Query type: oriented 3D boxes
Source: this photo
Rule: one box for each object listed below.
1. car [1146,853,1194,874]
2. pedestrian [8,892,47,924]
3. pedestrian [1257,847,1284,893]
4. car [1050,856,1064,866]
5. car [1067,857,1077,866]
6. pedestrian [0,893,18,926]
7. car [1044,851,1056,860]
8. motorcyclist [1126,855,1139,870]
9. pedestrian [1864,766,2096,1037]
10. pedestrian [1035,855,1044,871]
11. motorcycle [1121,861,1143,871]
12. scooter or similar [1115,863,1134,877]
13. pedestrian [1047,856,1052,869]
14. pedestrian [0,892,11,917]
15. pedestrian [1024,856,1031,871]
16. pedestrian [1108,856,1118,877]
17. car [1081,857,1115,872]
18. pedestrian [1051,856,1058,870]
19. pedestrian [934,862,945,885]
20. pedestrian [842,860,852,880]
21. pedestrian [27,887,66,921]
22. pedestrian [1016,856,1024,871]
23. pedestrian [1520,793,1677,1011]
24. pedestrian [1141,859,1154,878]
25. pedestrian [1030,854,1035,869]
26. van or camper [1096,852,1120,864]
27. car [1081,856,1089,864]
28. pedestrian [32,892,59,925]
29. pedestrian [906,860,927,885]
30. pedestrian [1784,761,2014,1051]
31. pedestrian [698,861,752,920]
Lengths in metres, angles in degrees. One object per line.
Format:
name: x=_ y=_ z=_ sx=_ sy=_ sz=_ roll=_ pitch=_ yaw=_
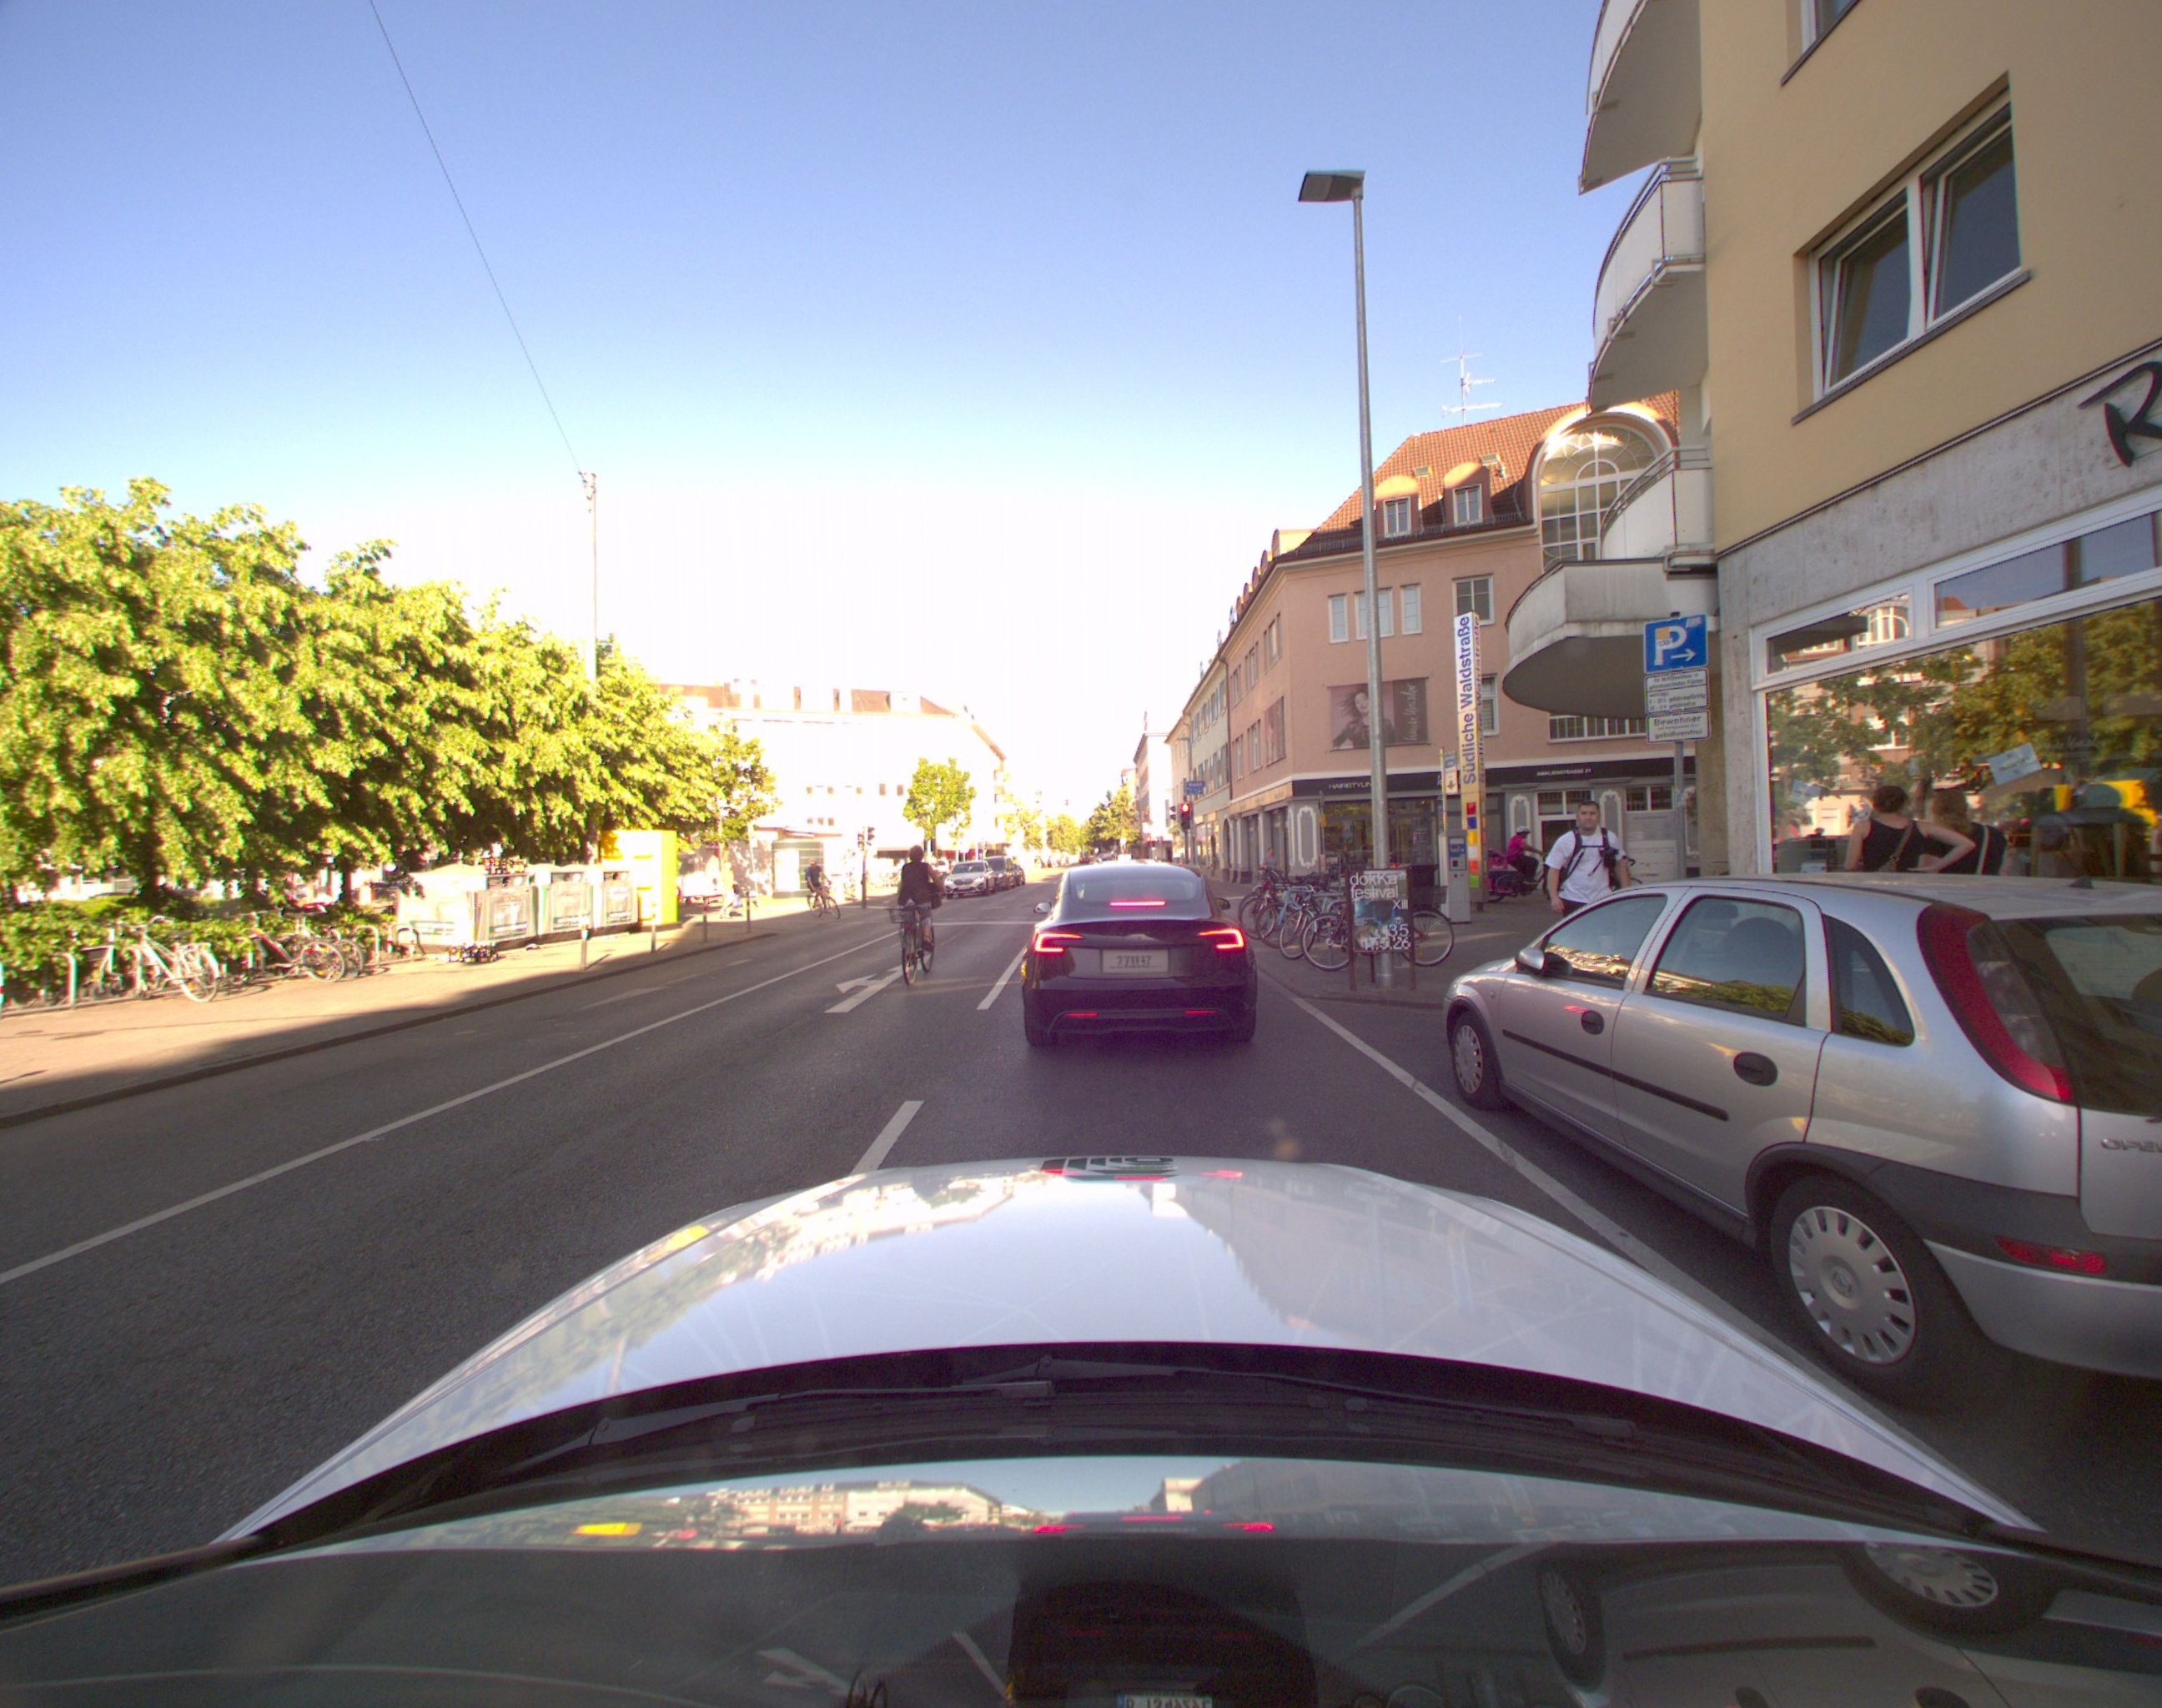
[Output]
car: x=8.143 y=0.875 z=74.644 sx=4.006 sy=1.867 sz=1.686 roll=-1 pitch=0 yaw=-20
pedestrian: x=-52.877 y=2.700 z=40.882 sx=1.029 sy=1.520 sz=1.023 roll=0 pitch=-1 yaw=-43
pedestrian: x=6.456 y=0.555 z=27.768 sx=0.786 sy=1.549 sz=0.724 roll=0 pitch=-1 yaw=2
car: x=-4.867 y=1.321 z=166.802 sx=2.405 sy=1.970 sz=4.679 roll=-1 pitch=0 yaw=2
car: x=-2.008 y=1.776 z=187.423 sx=2.124 sy=1.970 sz=4.135 roll=-1 pitch=0 yaw=2
pedestrian: x=-51.162 y=2.632 z=38.503 sx=0.928 sy=1.520 sz=0.924 roll=0 pitch=-1 yaw=-43
car: x=-7.174 y=0.288 z=188.727 sx=2.266 sy=2.014 sz=4.720 roll=0 pitch=-1 yaw=3
motorcyclist: x=5.505 y=0.903 z=86.735 sx=1.117 sy=1.633 sz=0.768 roll=0 pitch=-1 yaw=-32
pedestrian: x=6.291 y=0.326 z=5.762 sx=0.715 sy=1.754 sz=0.791 roll=-4 pitch=-1 yaw=19
pedestrian: x=-4.895 y=1.100 z=95.052 sx=0.726 sy=1.868 sz=0.796 roll=-1 pitch=-1 yaw=30
motorcycle: x=5.425 y=1.274 z=86.688 sx=2.394 sy=1.036 sz=0.775 roll=0 pitch=-1 yaw=-32
scooter or similar: x=3.576 y=1.329 z=67.287 sx=1.339 sy=1.134 sz=0.804 roll=0 pitch=-1 yaw=-23
pedestrian: x=-4.557 y=1.284 z=118.348 sx=0.695 sy=1.868 sz=0.906 roll=0 pitch=-1 yaw=-10
pedestrian: x=-52.849 y=2.448 z=39.420 sx=0.865 sy=1.214 sz=0.896 roll=0 pitch=-1 yaw=-15
pedestrian: x=-6.386 y=1.131 z=97.536 sx=0.734 sy=1.868 sz=0.787 roll=0 pitch=-1 yaw=-15
pedestrian: x=2.636 y=1.029 z=66.868 sx=0.660 sy=1.760 sz=0.649 roll=0 pitch=-1 yaw=-22
car: x=2.013 y=1.243 z=97.786 sx=2.052 sy=1.788 sz=3.959 roll=-1 pitch=0 yaw=-40
pedestrian: x=-3.788 y=1.252 z=115.014 sx=0.775 sy=1.868 sz=1.004 roll=0 pitch=-1 yaw=-13
pedestrian: x=-10.911 y=1.493 z=62.699 sx=0.844 sy=1.760 sz=0.704 roll=0 pitch=-1 yaw=-12
pedestrian: x=-17.855 y=1.240 z=62.152 sx=0.624 sy=1.524 sz=0.577 roll=0 pitch=-1 yaw=-11
pedestrian: x=-58.358 y=2.808 z=45.963 sx=1.088 sy=1.842 sz=1.308 roll=0 pitch=0 yaw=42
pedestrian: x=-7.283 y=1.134 z=97.224 sx=0.734 sy=1.868 sz=0.787 roll=0 pitch=-1 yaw=-15
pedestrian: x=4.597 y=0.404 z=7.312 sx=0.805 sy=1.823 sz=0.984 roll=0 pitch=-1 yaw=5
pedestrian: x=5.702 y=1.267 z=69.767 sx=0.812 sy=1.609 sz=0.702 roll=0 pitch=-1 yaw=-35
pedestrian: x=-6.221 y=0.977 z=104.218 sx=0.693 sy=1.868 sz=0.658 roll=0 pitch=-1 yaw=-3
van or camper: x=5.625 y=0.852 z=167.655 sx=4.833 sy=2.438 sz=1.851 roll=-1 pitch=0 yaw=1
car: x=0.915 y=1.500 z=192.137 sx=1.886 sy=1.813 sz=3.925 roll=0 pitch=-1 yaw=0
pedestrian: x=-49.673 y=2.626 z=39.079 sx=0.827 sy=1.520 sz=0.782 roll=-1 pitch=-1 yaw=38
pedestrian: x=-10.869 y=1.229 z=53.772 sx=1.088 sy=1.611 sz=1.267 roll=0 pitch=-1 yaw=2
pedestrian: x=5.677 y=0.349 z=5.728 sx=0.675 sy=1.849 sz=0.897 roll=-5 pitch=-1 yaw=17
pedestrian: x=-10.604 y=1.077 z=24.277 sx=1.105 sy=1.719 sz=1.063 roll=0 pitch=-1 yaw=3
